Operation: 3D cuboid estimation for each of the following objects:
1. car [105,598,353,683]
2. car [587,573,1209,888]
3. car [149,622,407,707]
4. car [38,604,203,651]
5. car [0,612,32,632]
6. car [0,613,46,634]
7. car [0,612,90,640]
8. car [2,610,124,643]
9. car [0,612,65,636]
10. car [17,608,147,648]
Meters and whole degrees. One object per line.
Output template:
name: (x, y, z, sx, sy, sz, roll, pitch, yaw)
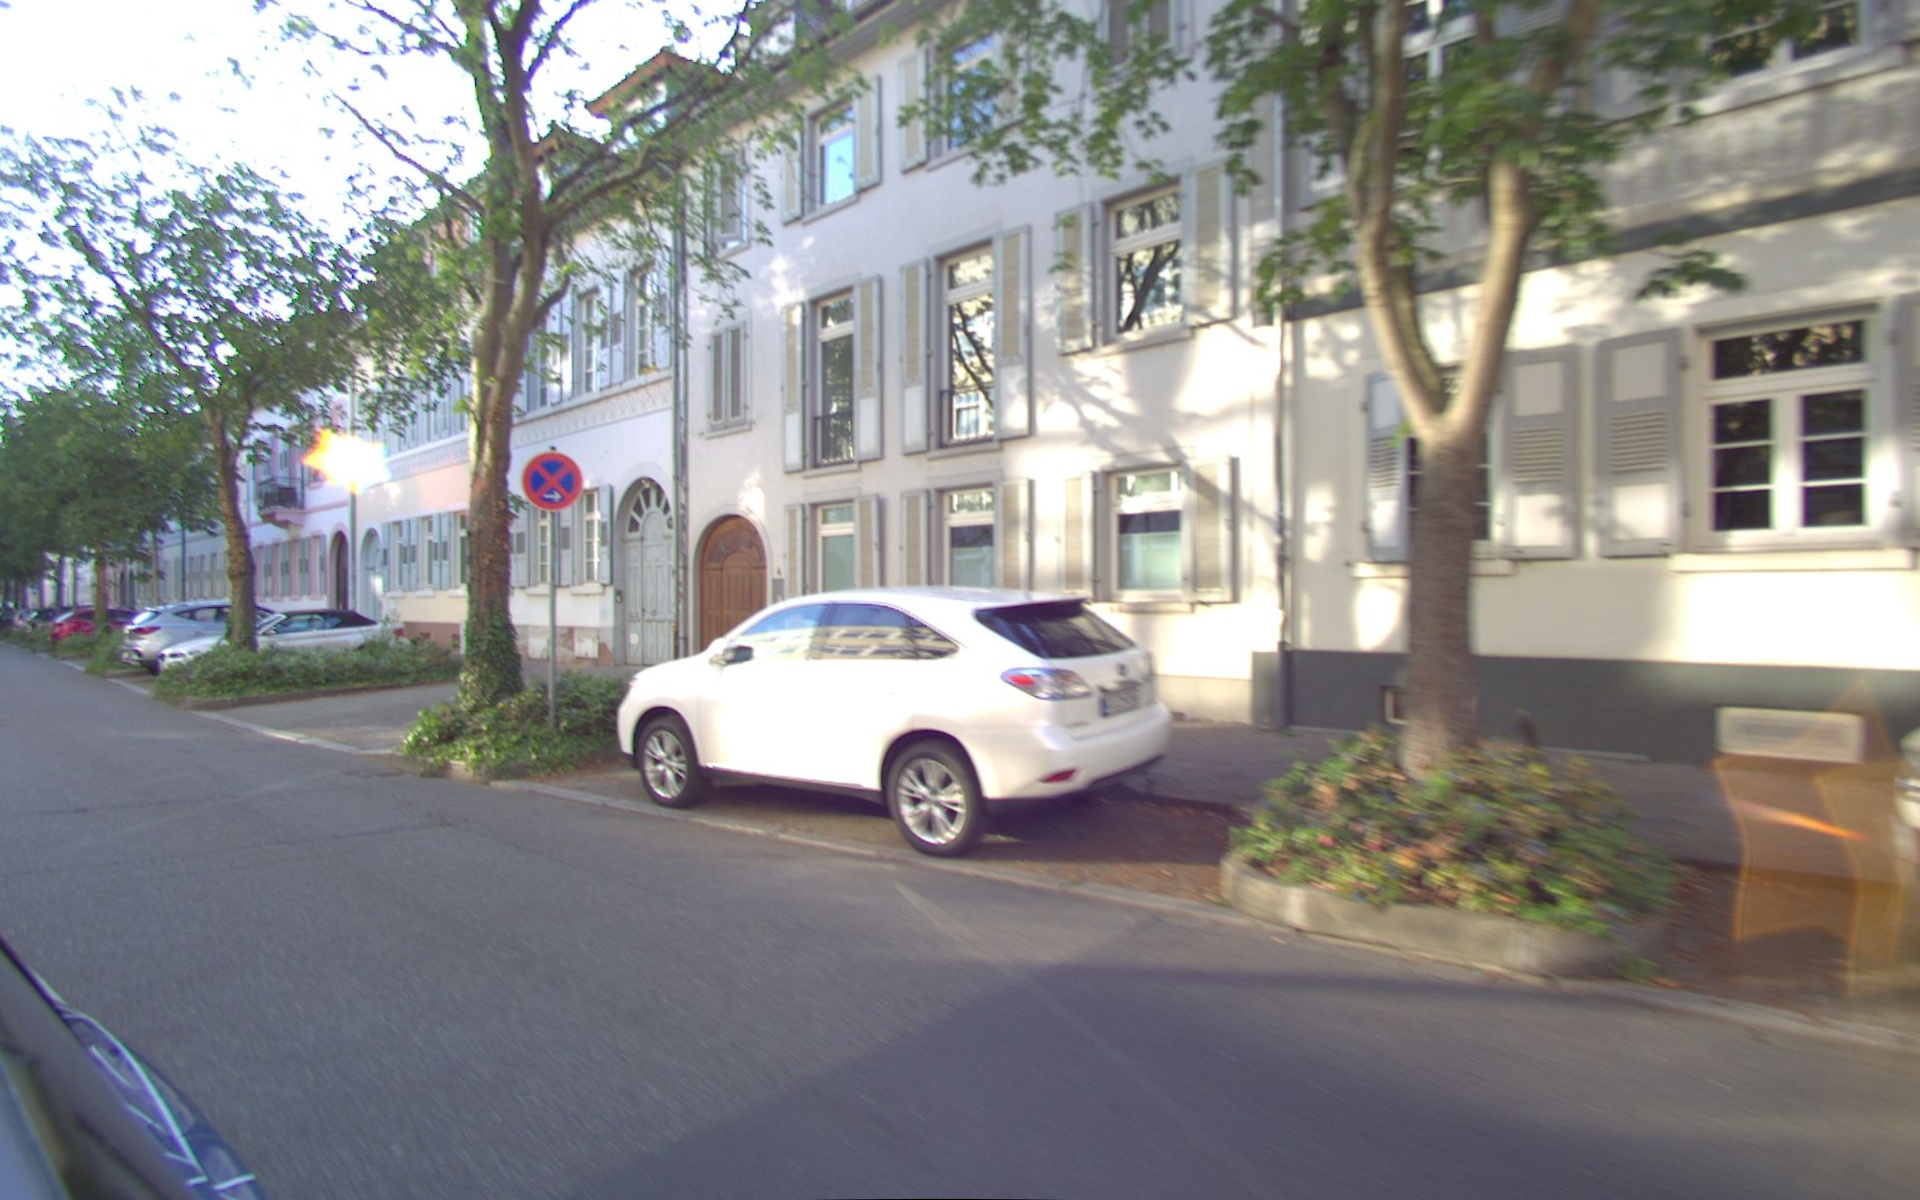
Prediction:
car: (-16.146, 0.849, 22.516, 1.800, 1.703, 4.175, -1, -1, 40)
car: (-0.676, 0.727, 7.720, 4.649, 1.680, 1.811, -1, 3, 38)
car: (-13.951, 1.240, 20.851, 4.169, 1.557, 1.802, 1, -1, -44)
car: (-29.151, 0.935, 35.238, 1.800, 1.519, 4.175, -1, -1, 40)
car: (-76.040, 1.748, 79.723, 1.968, 1.528, 4.175, -1, -1, 41)
car: (-69.785, 1.694, 74.003, 1.968, 1.488, 4.175, -1, -1, 41)
car: (-50.725, 1.411, 55.628, 1.853, 1.488, 4.175, -1, -1, 41)
car: (-42.759, 1.242, 48.324, 1.758, 1.529, 4.175, -1, -1, 40)
car: (-59.755, 1.518, 64.235, 1.968, 1.488, 4.175, -1, -1, 41)
car: (-39.229, 1.218, 45.283, 1.800, 1.677, 4.175, -1, -1, 40)
